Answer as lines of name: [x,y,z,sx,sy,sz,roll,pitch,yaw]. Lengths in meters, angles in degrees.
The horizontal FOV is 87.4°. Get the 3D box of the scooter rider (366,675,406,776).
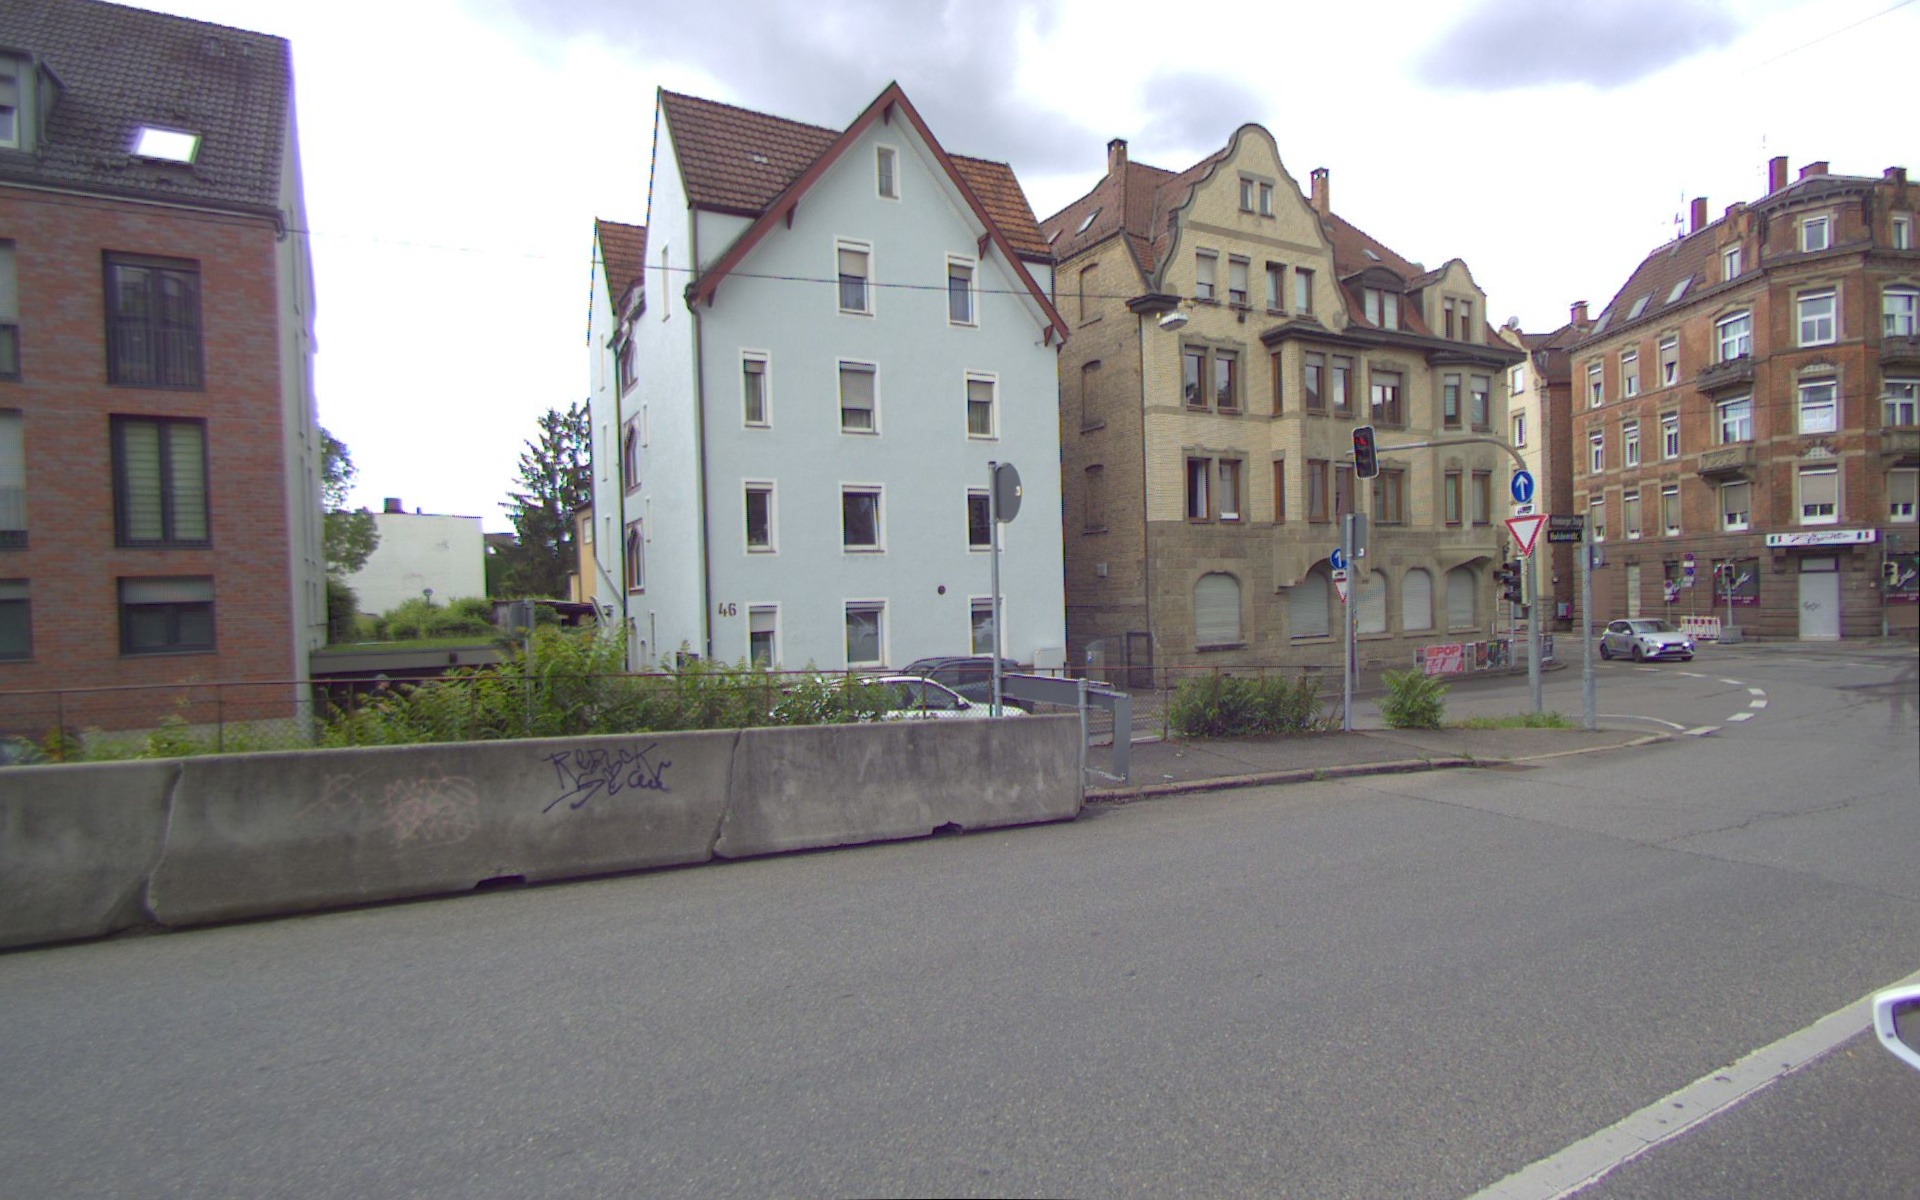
scooter rider: [-10.354,2.250,18.125,0.570,1.728,0.485,-2,1,-30]

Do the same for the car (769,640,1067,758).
car: [-0.615,1.449,15.865,4.371,1.534,1.819,1,0,-30]

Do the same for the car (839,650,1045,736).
car: [-0.344,1.935,21.667,4.184,1.576,1.674,1,0,-31]

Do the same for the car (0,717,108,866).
car: [-14.660,2.770,14.182,3.722,1.826,1.706,0,1,-30]

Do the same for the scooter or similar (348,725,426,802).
scooter or similar: [-10.334,2.938,18.145,1.212,1.258,0.376,0,0,-30]

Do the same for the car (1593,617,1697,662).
car: [24.195,1.359,35.623,1.641,1.487,3.646,0,-1,9]
